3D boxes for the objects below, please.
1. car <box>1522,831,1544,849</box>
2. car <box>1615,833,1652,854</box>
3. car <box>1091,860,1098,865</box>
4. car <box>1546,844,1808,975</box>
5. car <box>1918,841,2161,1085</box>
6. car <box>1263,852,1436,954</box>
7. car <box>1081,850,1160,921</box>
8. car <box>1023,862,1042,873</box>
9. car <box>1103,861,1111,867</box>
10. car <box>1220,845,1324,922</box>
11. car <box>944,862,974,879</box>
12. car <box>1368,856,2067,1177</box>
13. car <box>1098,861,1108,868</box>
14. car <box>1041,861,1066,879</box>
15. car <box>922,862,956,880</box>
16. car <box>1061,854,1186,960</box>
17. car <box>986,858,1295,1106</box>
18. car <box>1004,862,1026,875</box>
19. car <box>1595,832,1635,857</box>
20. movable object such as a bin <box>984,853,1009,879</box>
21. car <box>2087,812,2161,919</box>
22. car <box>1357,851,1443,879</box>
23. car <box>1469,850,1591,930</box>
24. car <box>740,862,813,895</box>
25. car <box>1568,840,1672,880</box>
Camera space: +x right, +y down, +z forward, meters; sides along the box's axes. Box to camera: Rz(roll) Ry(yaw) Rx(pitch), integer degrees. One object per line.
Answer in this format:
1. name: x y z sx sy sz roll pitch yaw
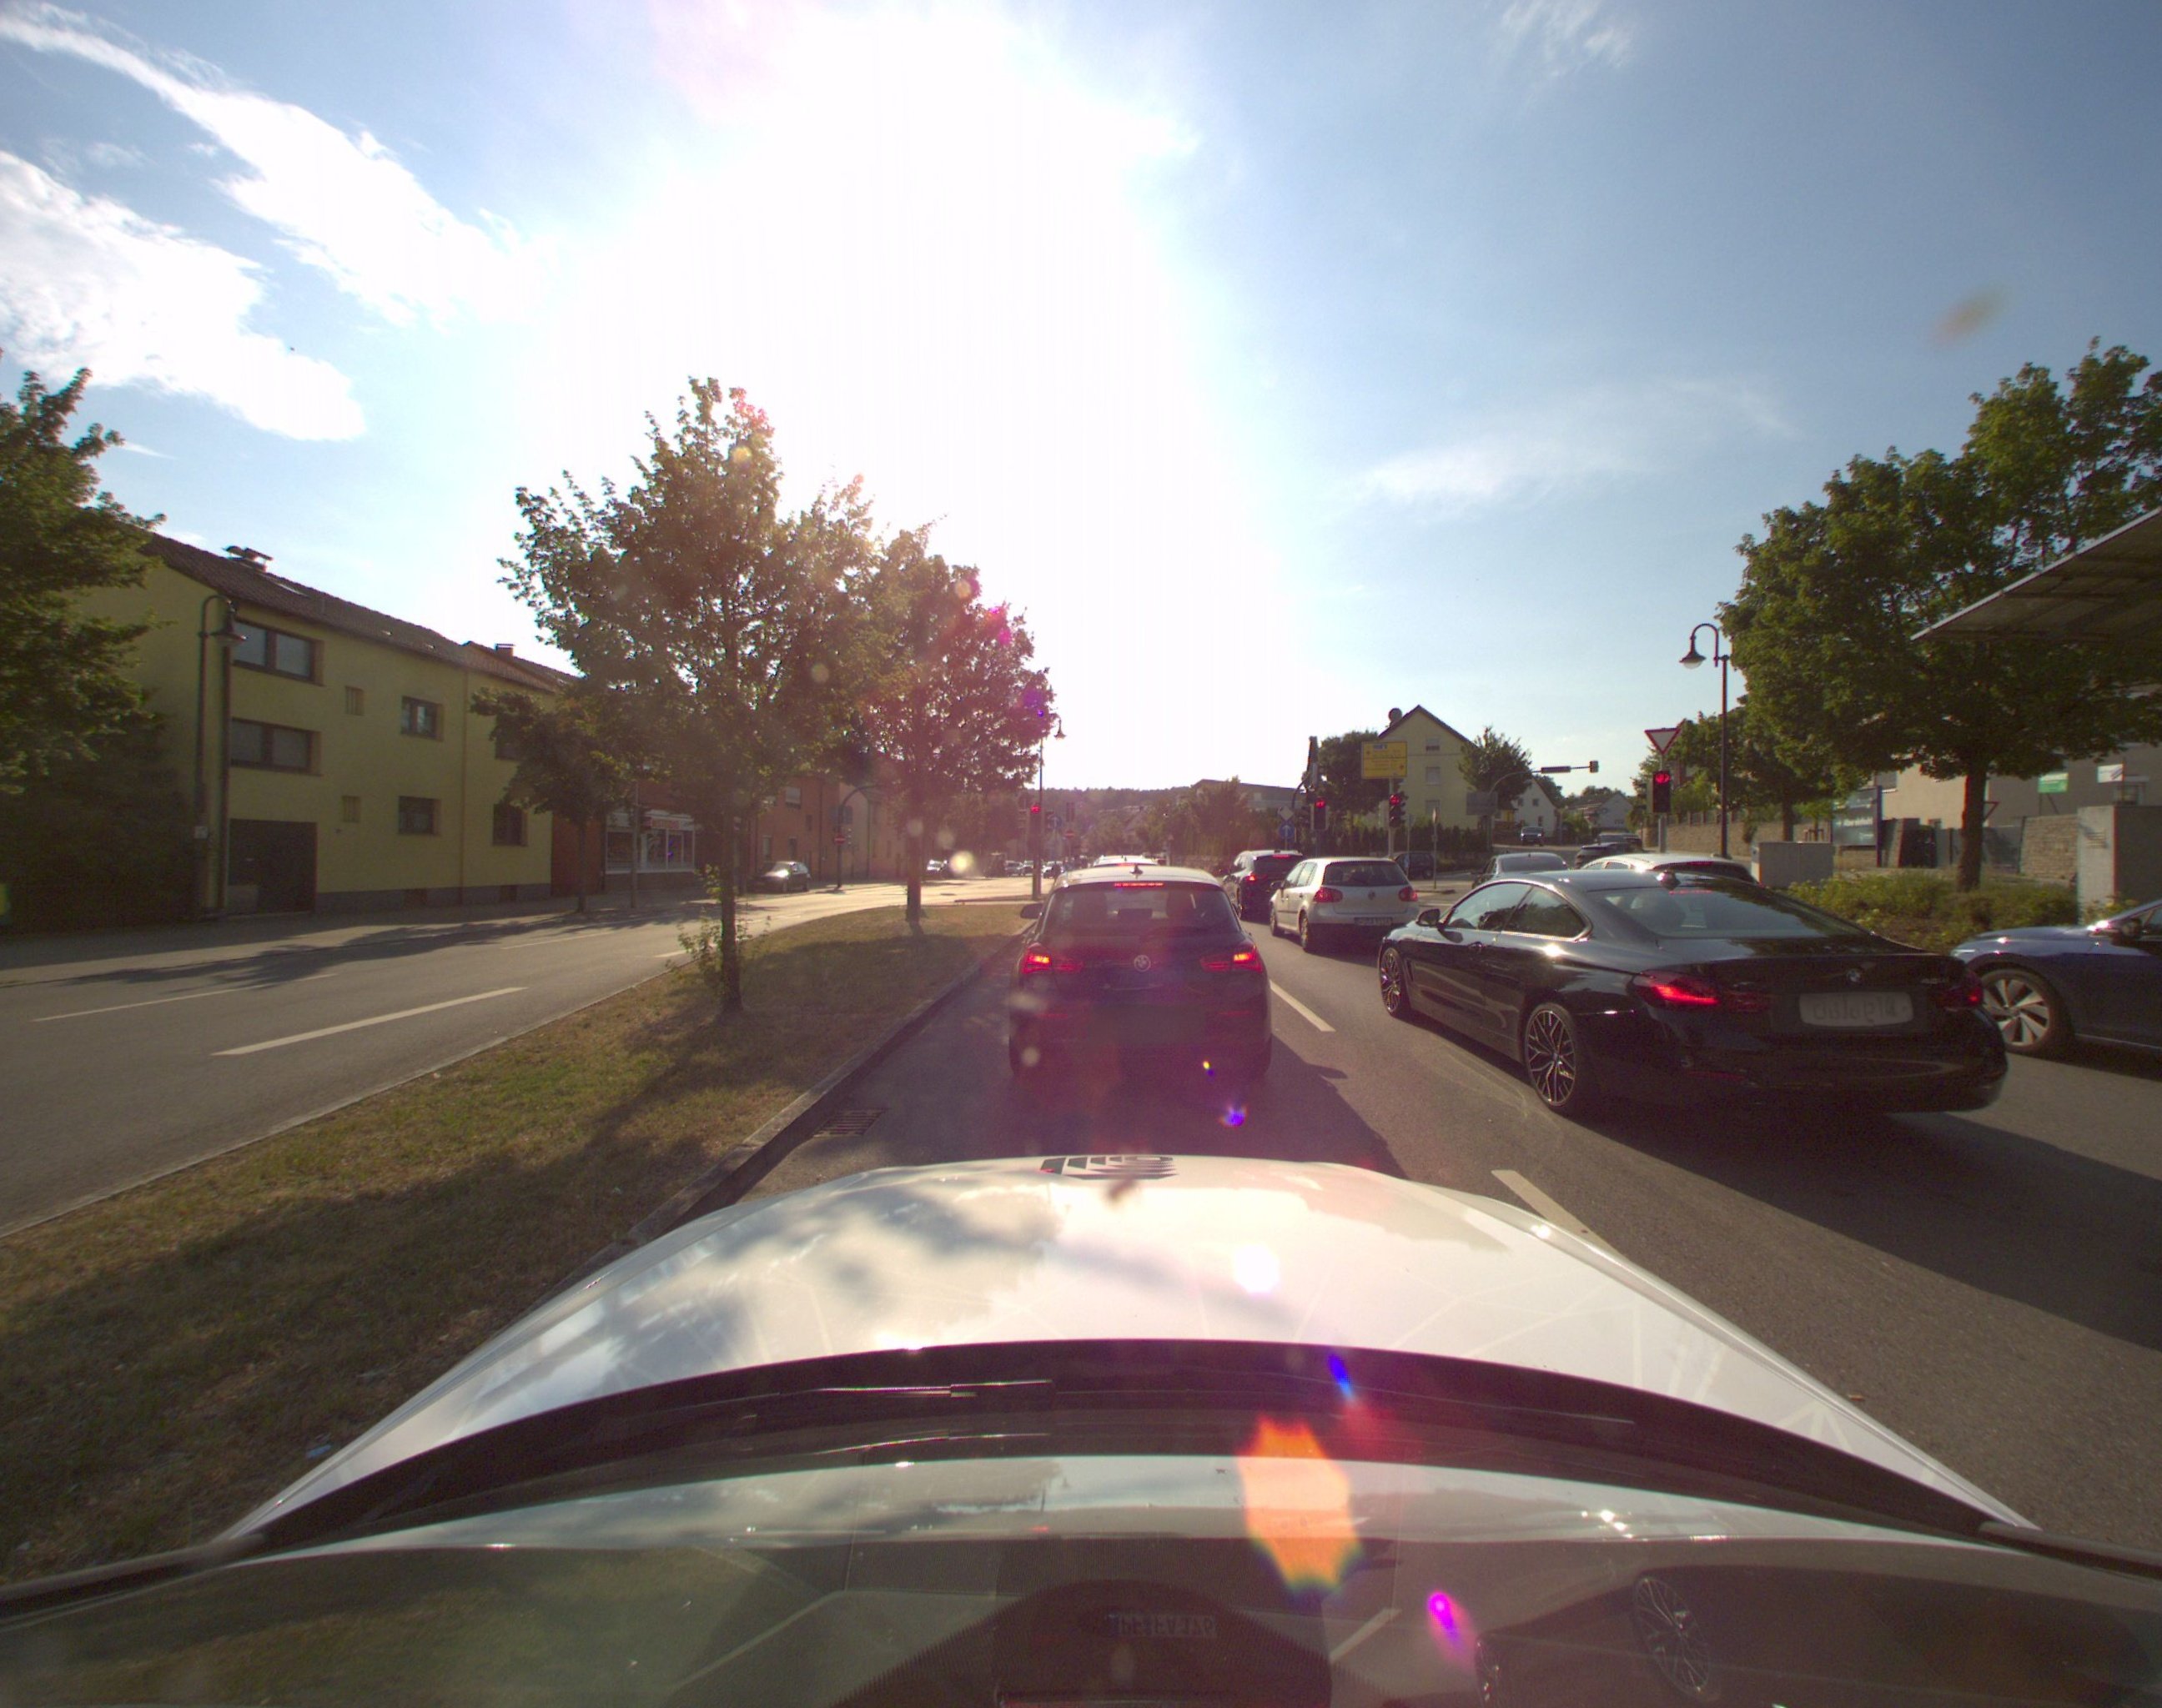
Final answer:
1. car: 44.429 -1.363 80.023 1.825 1.739 4.814 0 0 29
2. car: 46.767 -0.901 68.964 1.947 1.680 4.240 -2 0 26
3. car: 3.979 2.336 233.639 1.729 1.301 3.804 4 0 5
4. car: 8.111 0.674 11.462 1.608 1.542 3.326 -2 0 9
5. car: 7.416 0.655 4.263 1.754 1.453 4.322 -2 0 3
6. car: 4.322 0.717 13.760 1.755 1.426 3.905 -2 0 2
7. car: 1.020 0.740 21.148 1.781 1.594 4.283 -2 0 2
8. car: -6.071 1.687 102.225 1.729 1.301 3.804 4 0 5
9. car: 6.403 2.500 197.999 1.729 1.301 3.804 4 0 5
10. car: 4.569 0.651 20.042 1.755 1.656 3.905 -2 0 2
11. car: -11.050 1.462 73.854 1.729 1.301 4.005 4 0 5
12. car: 3.620 0.741 5.820 1.755 1.397 4.283 -2 0 2
13. car: 4.667 2.233 174.312 1.729 1.301 3.804 4 0 5
14. car: -2.387 1.399 71.330 1.831 1.482 4.003 -1 0 3
15. car: -11.746 1.417 67.591 1.728 1.301 4.006 4 0 6
16. car: 0.719 0.781 14.109 1.781 1.494 4.283 -2 0 2
17. car: 0.442 0.774 6.965 1.781 1.397 4.283 -2 0 2
18. car: -7.221 1.586 89.464 1.729 1.301 3.804 4 0 5
19. car: 36.824 -0.660 56.284 1.825 1.641 4.457 0 0 27
20. movable object such as a bin: -8.135 1.151 78.629 1.729 2.442 4.452 -1 0 3
21. car: 18.494 0.163 12.383 3.793 1.632 1.784 0 0 10
22. car: 17.345 0.571 44.358 3.974 1.489 1.848 0 0 -1
23. car: 9.882 0.716 18.236 1.642 1.542 4.420 -2 0 19
24. car: -14.139 1.109 38.029 1.730 1.301 4.002 4 0 2
25. car: 24.313 0.248 36.731 4.222 1.680 1.955 -1 0 -25
